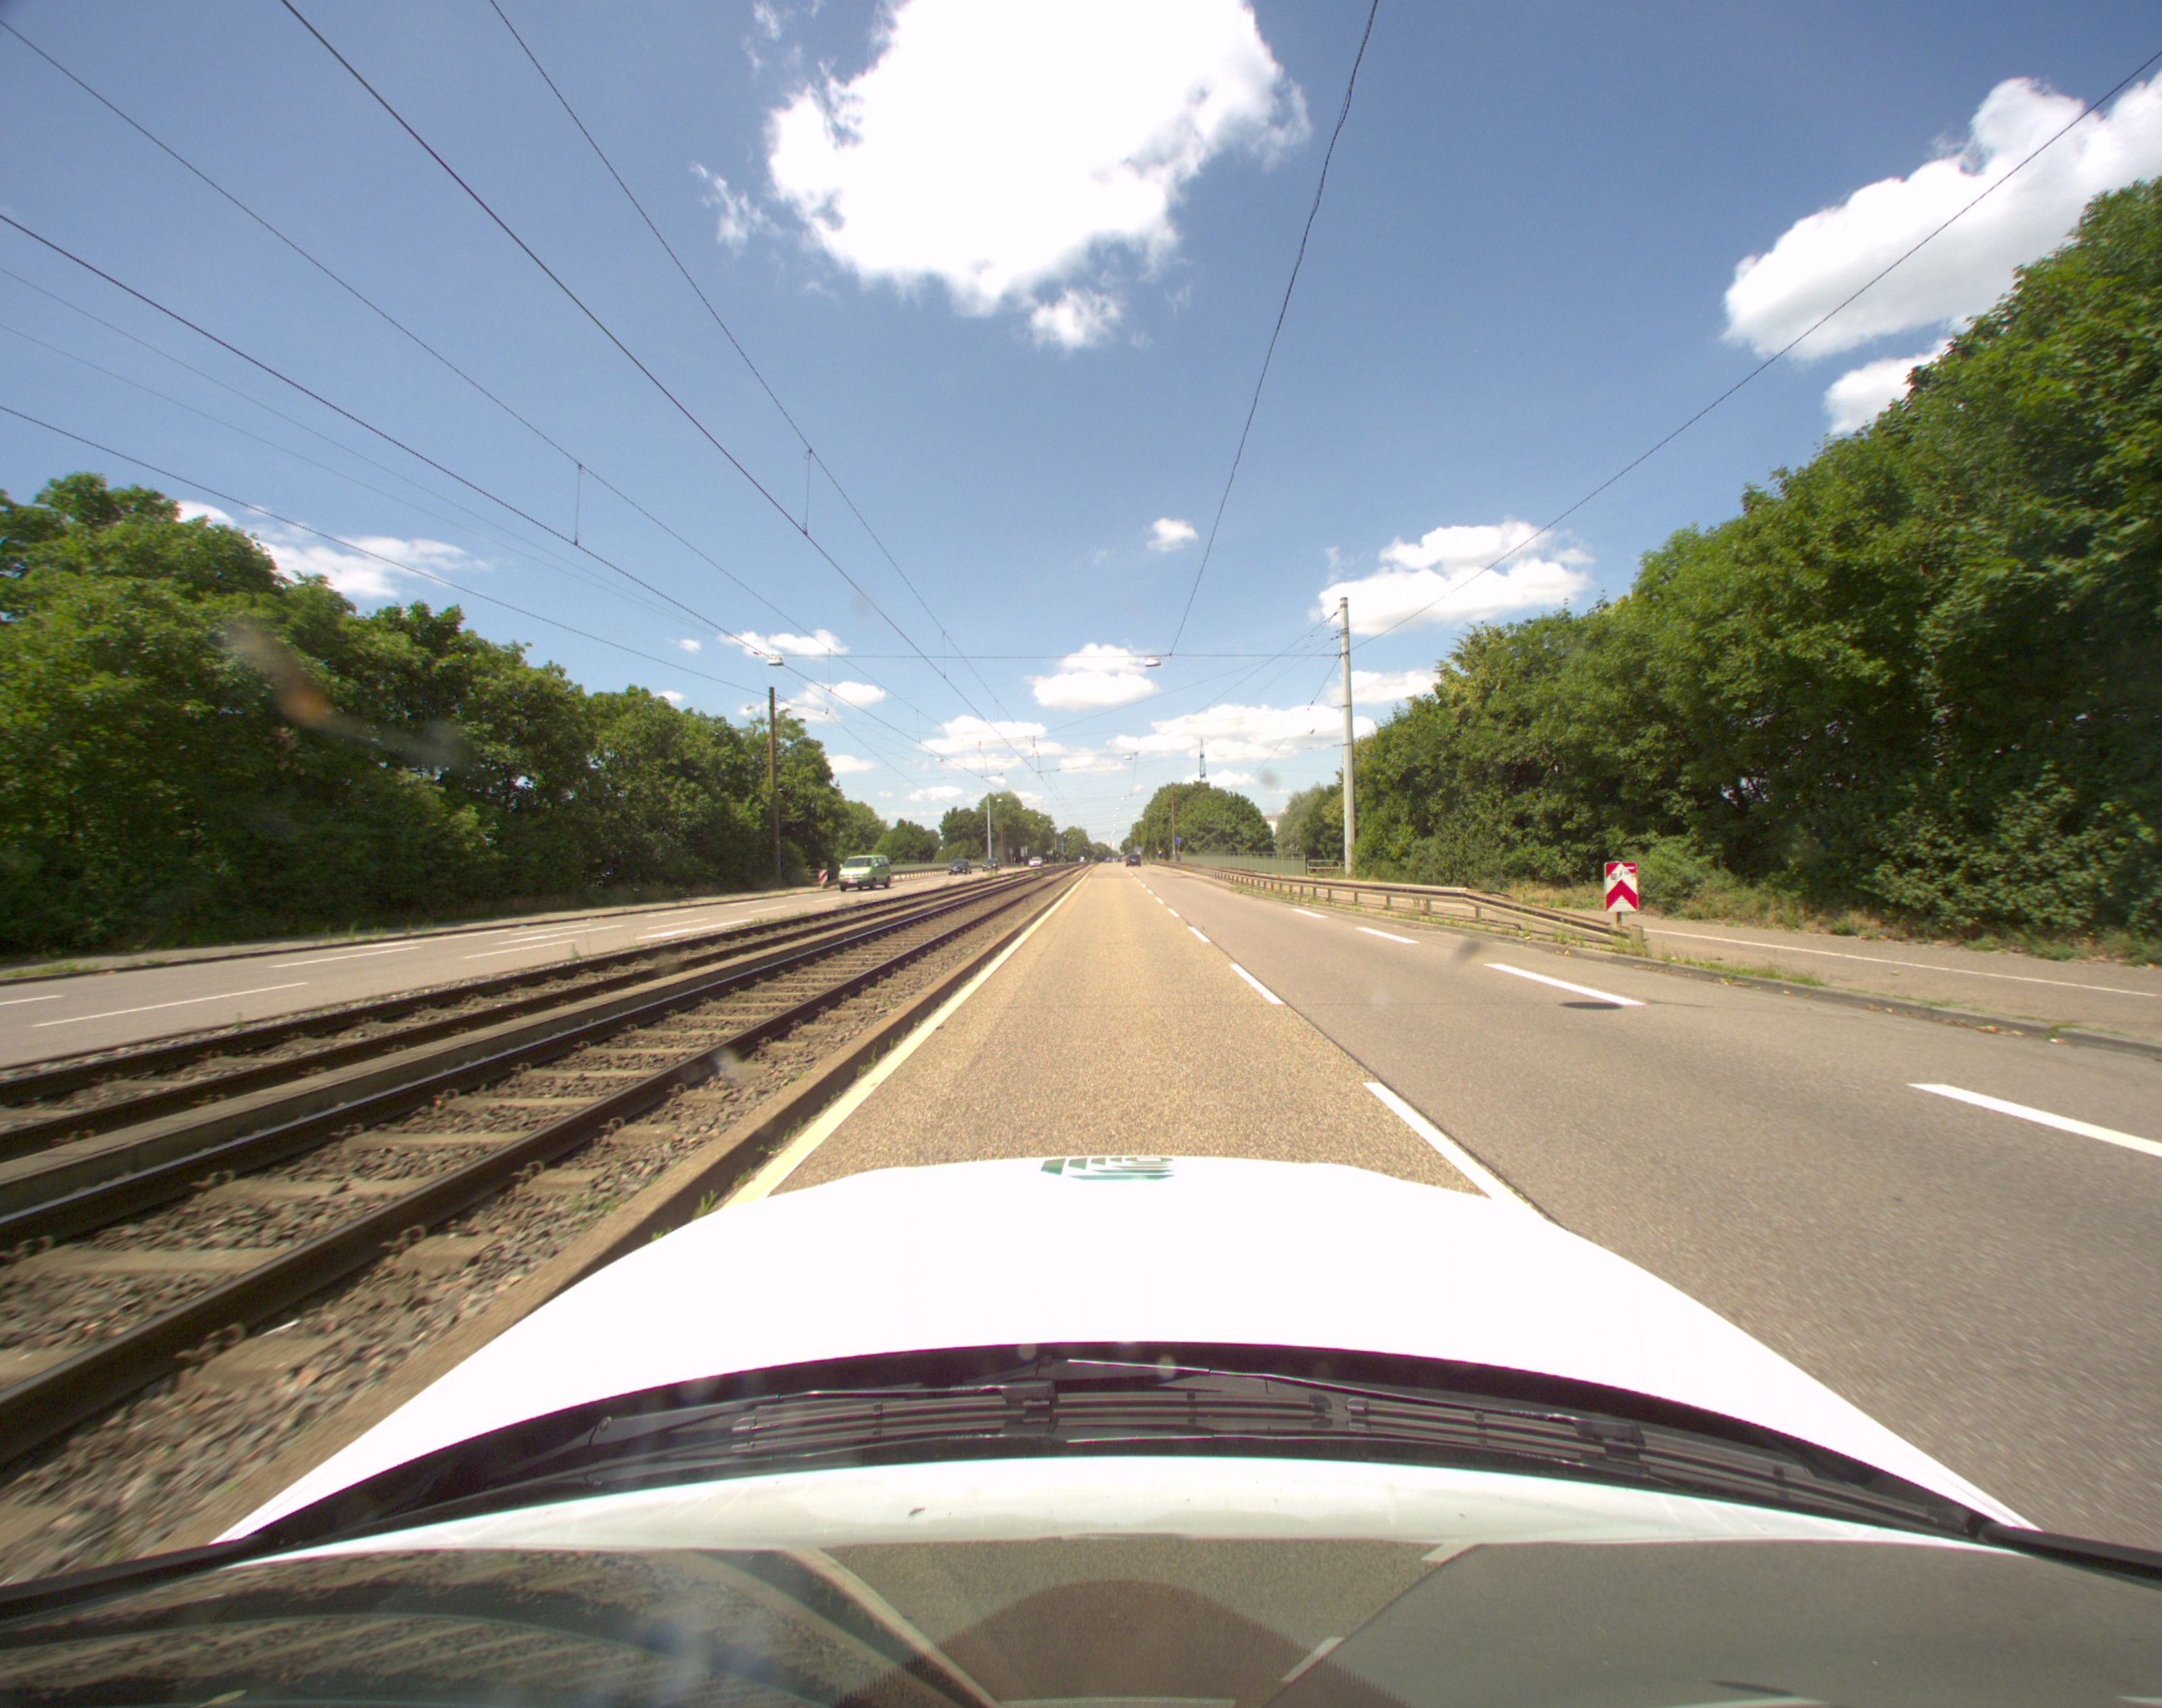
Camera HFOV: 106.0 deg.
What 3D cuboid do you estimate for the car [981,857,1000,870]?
[{"bbox_3d":[-10.563,1.127,95.278,1.568,1.400,3.939,-2,-1,2],"label":"car"}]

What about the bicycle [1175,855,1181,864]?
[{"bbox_3d":[11.681,0.642,97.874,0.557,1.024,1.849,-2,-1,2],"label":"bicycle"}]

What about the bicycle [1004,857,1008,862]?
[{"bbox_3d":[-12.962,0.965,141.395,0.521,0.843,2.035,0,0,0],"label":"bicycle"}]

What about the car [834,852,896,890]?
[{"bbox_3d":[-11.932,0.891,45.322,1.804,1.925,5.181,-2,-1,2],"label":"car"}]

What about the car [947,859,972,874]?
[{"bbox_3d":[-11.346,1.161,76.039,1.557,1.347,3.931,-2,-1,2],"label":"car"}]

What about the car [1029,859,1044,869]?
[{"bbox_3d":[-6.416,1.464,117.345,1.704,1.420,4.626,-2,-1,2],"label":"car"}]

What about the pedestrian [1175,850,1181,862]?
[{"bbox_3d":[11.672,0.252,97.852,0.625,1.374,1.051,-2,-1,2],"label":"pedestrian"}]

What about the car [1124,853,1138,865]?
[{"bbox_3d":[6.002,0.638,97.973,1.580,1.343,3.272,-2,0,0],"label":"car"}]
